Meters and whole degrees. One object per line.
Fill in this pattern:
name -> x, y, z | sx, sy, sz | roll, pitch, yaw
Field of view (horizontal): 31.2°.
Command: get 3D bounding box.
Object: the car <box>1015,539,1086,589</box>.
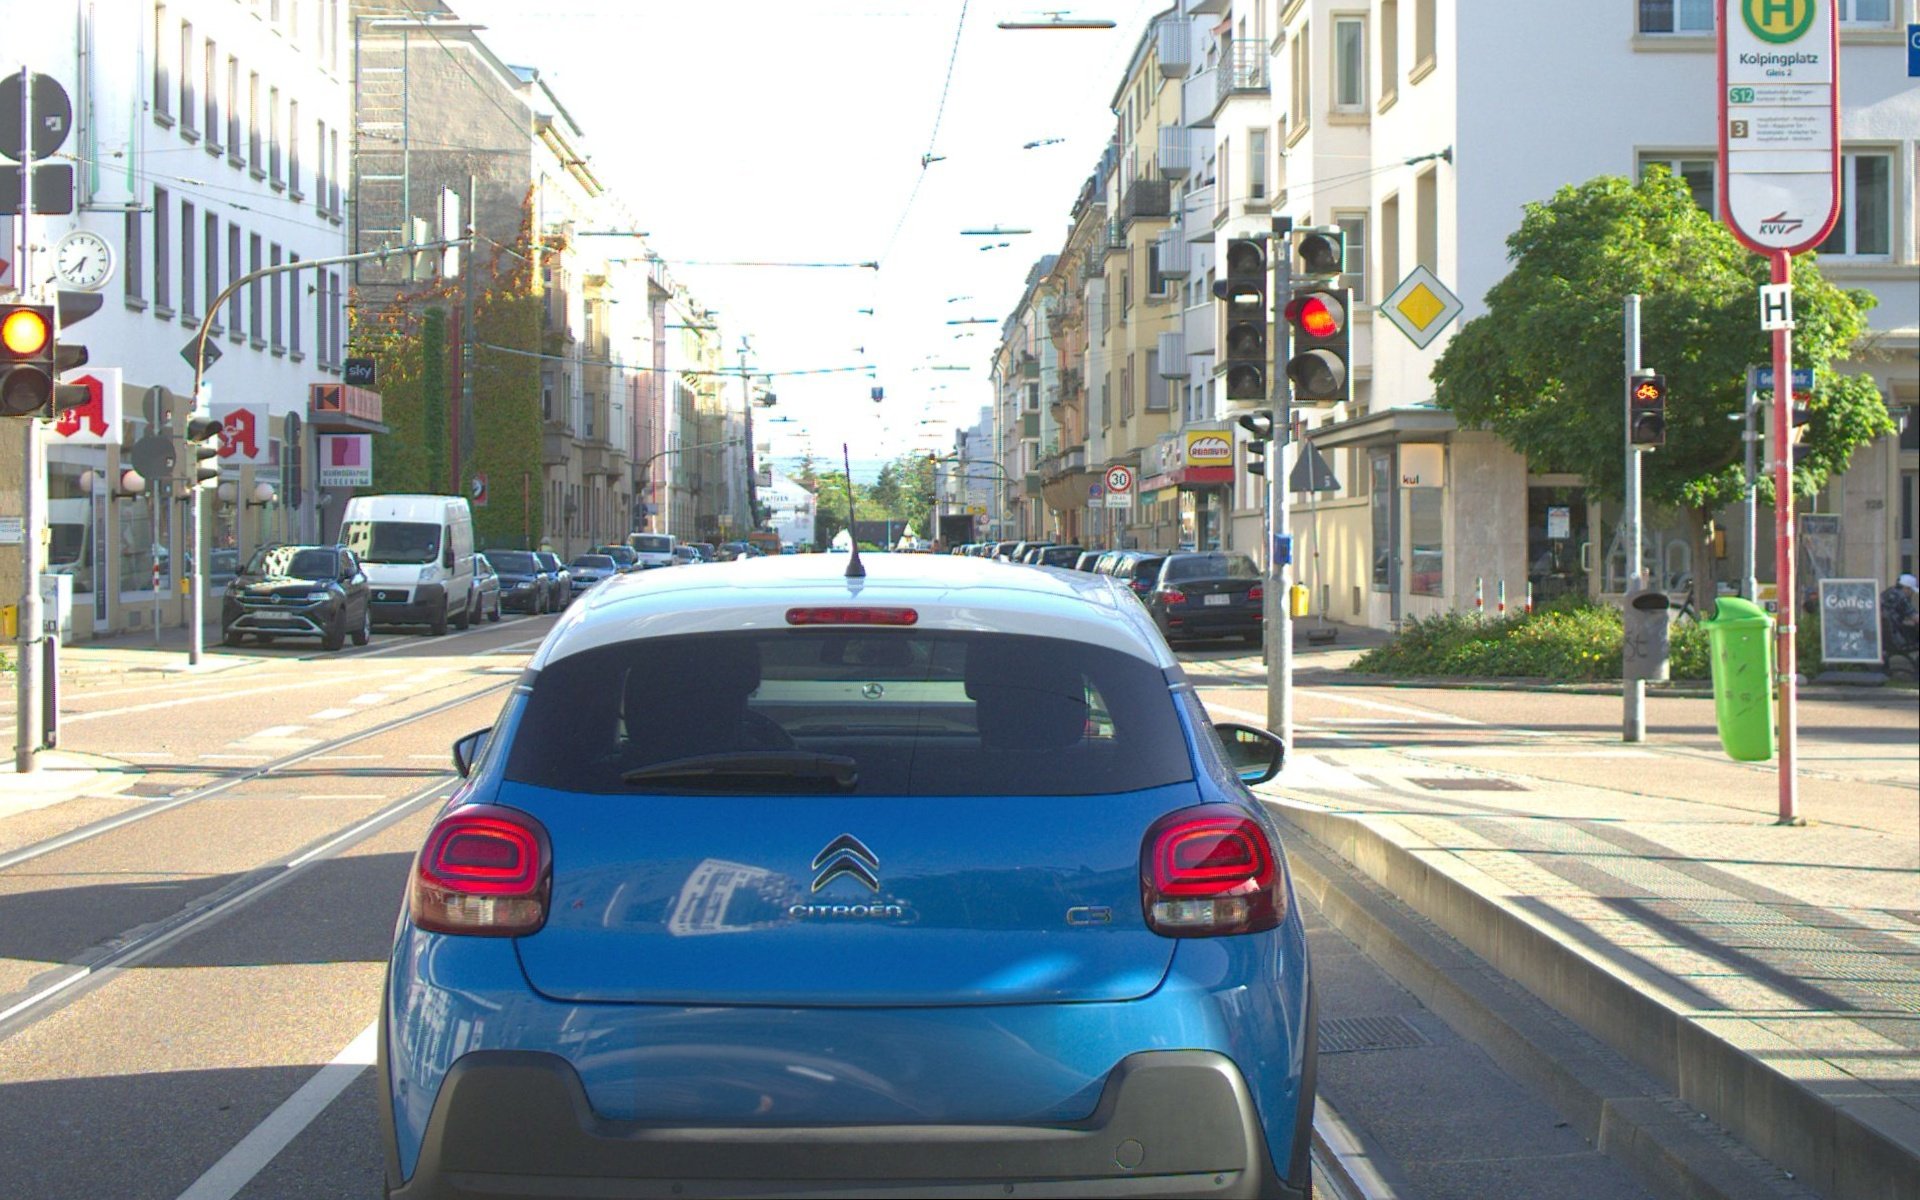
car -> 2.661, -1.086, 102.010 | 1.993, 1.459, 4.504 | 0, 1, 0

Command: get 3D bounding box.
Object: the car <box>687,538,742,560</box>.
car -> -13.191, -2.745, 184.825 | 1.994, 1.152, 4.513 | 0, 1, 9

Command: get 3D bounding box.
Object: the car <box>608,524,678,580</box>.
car -> -11.655, -1.750, 126.742 | 2.006, 2.007, 4.689 | 1, 0, 1

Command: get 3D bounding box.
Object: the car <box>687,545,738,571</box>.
car -> -11.105, -1.885, 154.229 | 1.993, 1.152, 4.000 | 0, 1, 0

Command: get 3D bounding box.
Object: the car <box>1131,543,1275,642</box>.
car -> 3.668, -0.140, 52.478 | 1.909, 1.459, 4.000 | 0, 1, 0

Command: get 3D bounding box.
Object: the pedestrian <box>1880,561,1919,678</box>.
pedestrian -> 10.876, 0.218, 39.048 | 0.741, 1.311, 0.627 | 0, 1, 23

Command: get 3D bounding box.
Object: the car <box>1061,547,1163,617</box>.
car -> 3.198, -0.401, 72.893 | 1.993, 1.459, 4.000 | 0, 1, 0

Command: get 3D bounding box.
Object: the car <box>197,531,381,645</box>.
car -> -10.172, -0.198, 52.416 | 1.993, 1.563, 4.403 | 3, 0, -2

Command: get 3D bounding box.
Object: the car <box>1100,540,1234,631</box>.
car -> 3.403, -0.266, 57.267 | 1.993, 1.459, 4.000 | 0, 1, 0

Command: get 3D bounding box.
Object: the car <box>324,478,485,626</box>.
car -> -10.086, -0.878, 62.850 | 2.085, 2.533, 6.206 | 1, 1, -2

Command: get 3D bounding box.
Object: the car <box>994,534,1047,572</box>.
car -> 2.326, -1.829, 133.176 | 1.993, 1.459, 4.000 | 0, 1, 0

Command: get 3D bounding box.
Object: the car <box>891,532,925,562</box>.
car -> -3.120, -3.166, 205.635 | 1.993, 1.766, 4.000 | 0, 1, -1

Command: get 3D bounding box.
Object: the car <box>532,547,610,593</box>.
car -> -11.657, -0.897, 103.199 | 1.993, 1.320, 3.923 | 1, 0, -2

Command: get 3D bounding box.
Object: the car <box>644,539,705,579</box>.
car -> -11.323, -1.627, 136.632 | 1.955, 1.547, 3.938 | 1, 0, 2

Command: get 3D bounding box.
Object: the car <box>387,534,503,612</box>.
car -> -10.374, -0.545, 69.464 | 1.888, 1.491, 3.562 | 1, 0, -2

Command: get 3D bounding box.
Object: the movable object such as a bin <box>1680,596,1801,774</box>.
movable object such as a bin -> 3.510, 0.377, 15.481 | 0.449, 0.783, 0.489 | 0, 1, 2

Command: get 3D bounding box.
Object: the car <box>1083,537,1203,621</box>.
car -> 3.311, -0.401, 62.931 | 1.993, 1.496, 4.000 | 0, 1, 0

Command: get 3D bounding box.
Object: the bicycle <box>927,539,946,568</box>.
bicycle -> -1.121, -2.232, 164.629 | 0.920, 1.384, 3.132 | 0, 1, 0

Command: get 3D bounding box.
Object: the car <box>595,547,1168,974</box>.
car -> -0.309, 0.526, 14.460 | 1.984, 1.459, 4.816 | 1, 1, -1

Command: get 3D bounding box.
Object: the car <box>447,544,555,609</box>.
car -> -10.404, -0.541, 78.143 | 1.993, 1.393, 4.157 | 1, 0, -2

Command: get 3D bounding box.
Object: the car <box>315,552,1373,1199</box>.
car -> -0.222, 0.652, 7.586 | 1.728, 1.477, 3.827 | 1, 1, -1

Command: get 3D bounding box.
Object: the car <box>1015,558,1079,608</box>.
car -> 2.766, -0.546, 109.739 | 1.993, 1.546, 4.000 | 0, 1, 1

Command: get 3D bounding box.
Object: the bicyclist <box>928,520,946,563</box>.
bicyclist -> -1.115, -2.802, 164.351 | 0.809, 2.007, 0.922 | 1, 0, 0
